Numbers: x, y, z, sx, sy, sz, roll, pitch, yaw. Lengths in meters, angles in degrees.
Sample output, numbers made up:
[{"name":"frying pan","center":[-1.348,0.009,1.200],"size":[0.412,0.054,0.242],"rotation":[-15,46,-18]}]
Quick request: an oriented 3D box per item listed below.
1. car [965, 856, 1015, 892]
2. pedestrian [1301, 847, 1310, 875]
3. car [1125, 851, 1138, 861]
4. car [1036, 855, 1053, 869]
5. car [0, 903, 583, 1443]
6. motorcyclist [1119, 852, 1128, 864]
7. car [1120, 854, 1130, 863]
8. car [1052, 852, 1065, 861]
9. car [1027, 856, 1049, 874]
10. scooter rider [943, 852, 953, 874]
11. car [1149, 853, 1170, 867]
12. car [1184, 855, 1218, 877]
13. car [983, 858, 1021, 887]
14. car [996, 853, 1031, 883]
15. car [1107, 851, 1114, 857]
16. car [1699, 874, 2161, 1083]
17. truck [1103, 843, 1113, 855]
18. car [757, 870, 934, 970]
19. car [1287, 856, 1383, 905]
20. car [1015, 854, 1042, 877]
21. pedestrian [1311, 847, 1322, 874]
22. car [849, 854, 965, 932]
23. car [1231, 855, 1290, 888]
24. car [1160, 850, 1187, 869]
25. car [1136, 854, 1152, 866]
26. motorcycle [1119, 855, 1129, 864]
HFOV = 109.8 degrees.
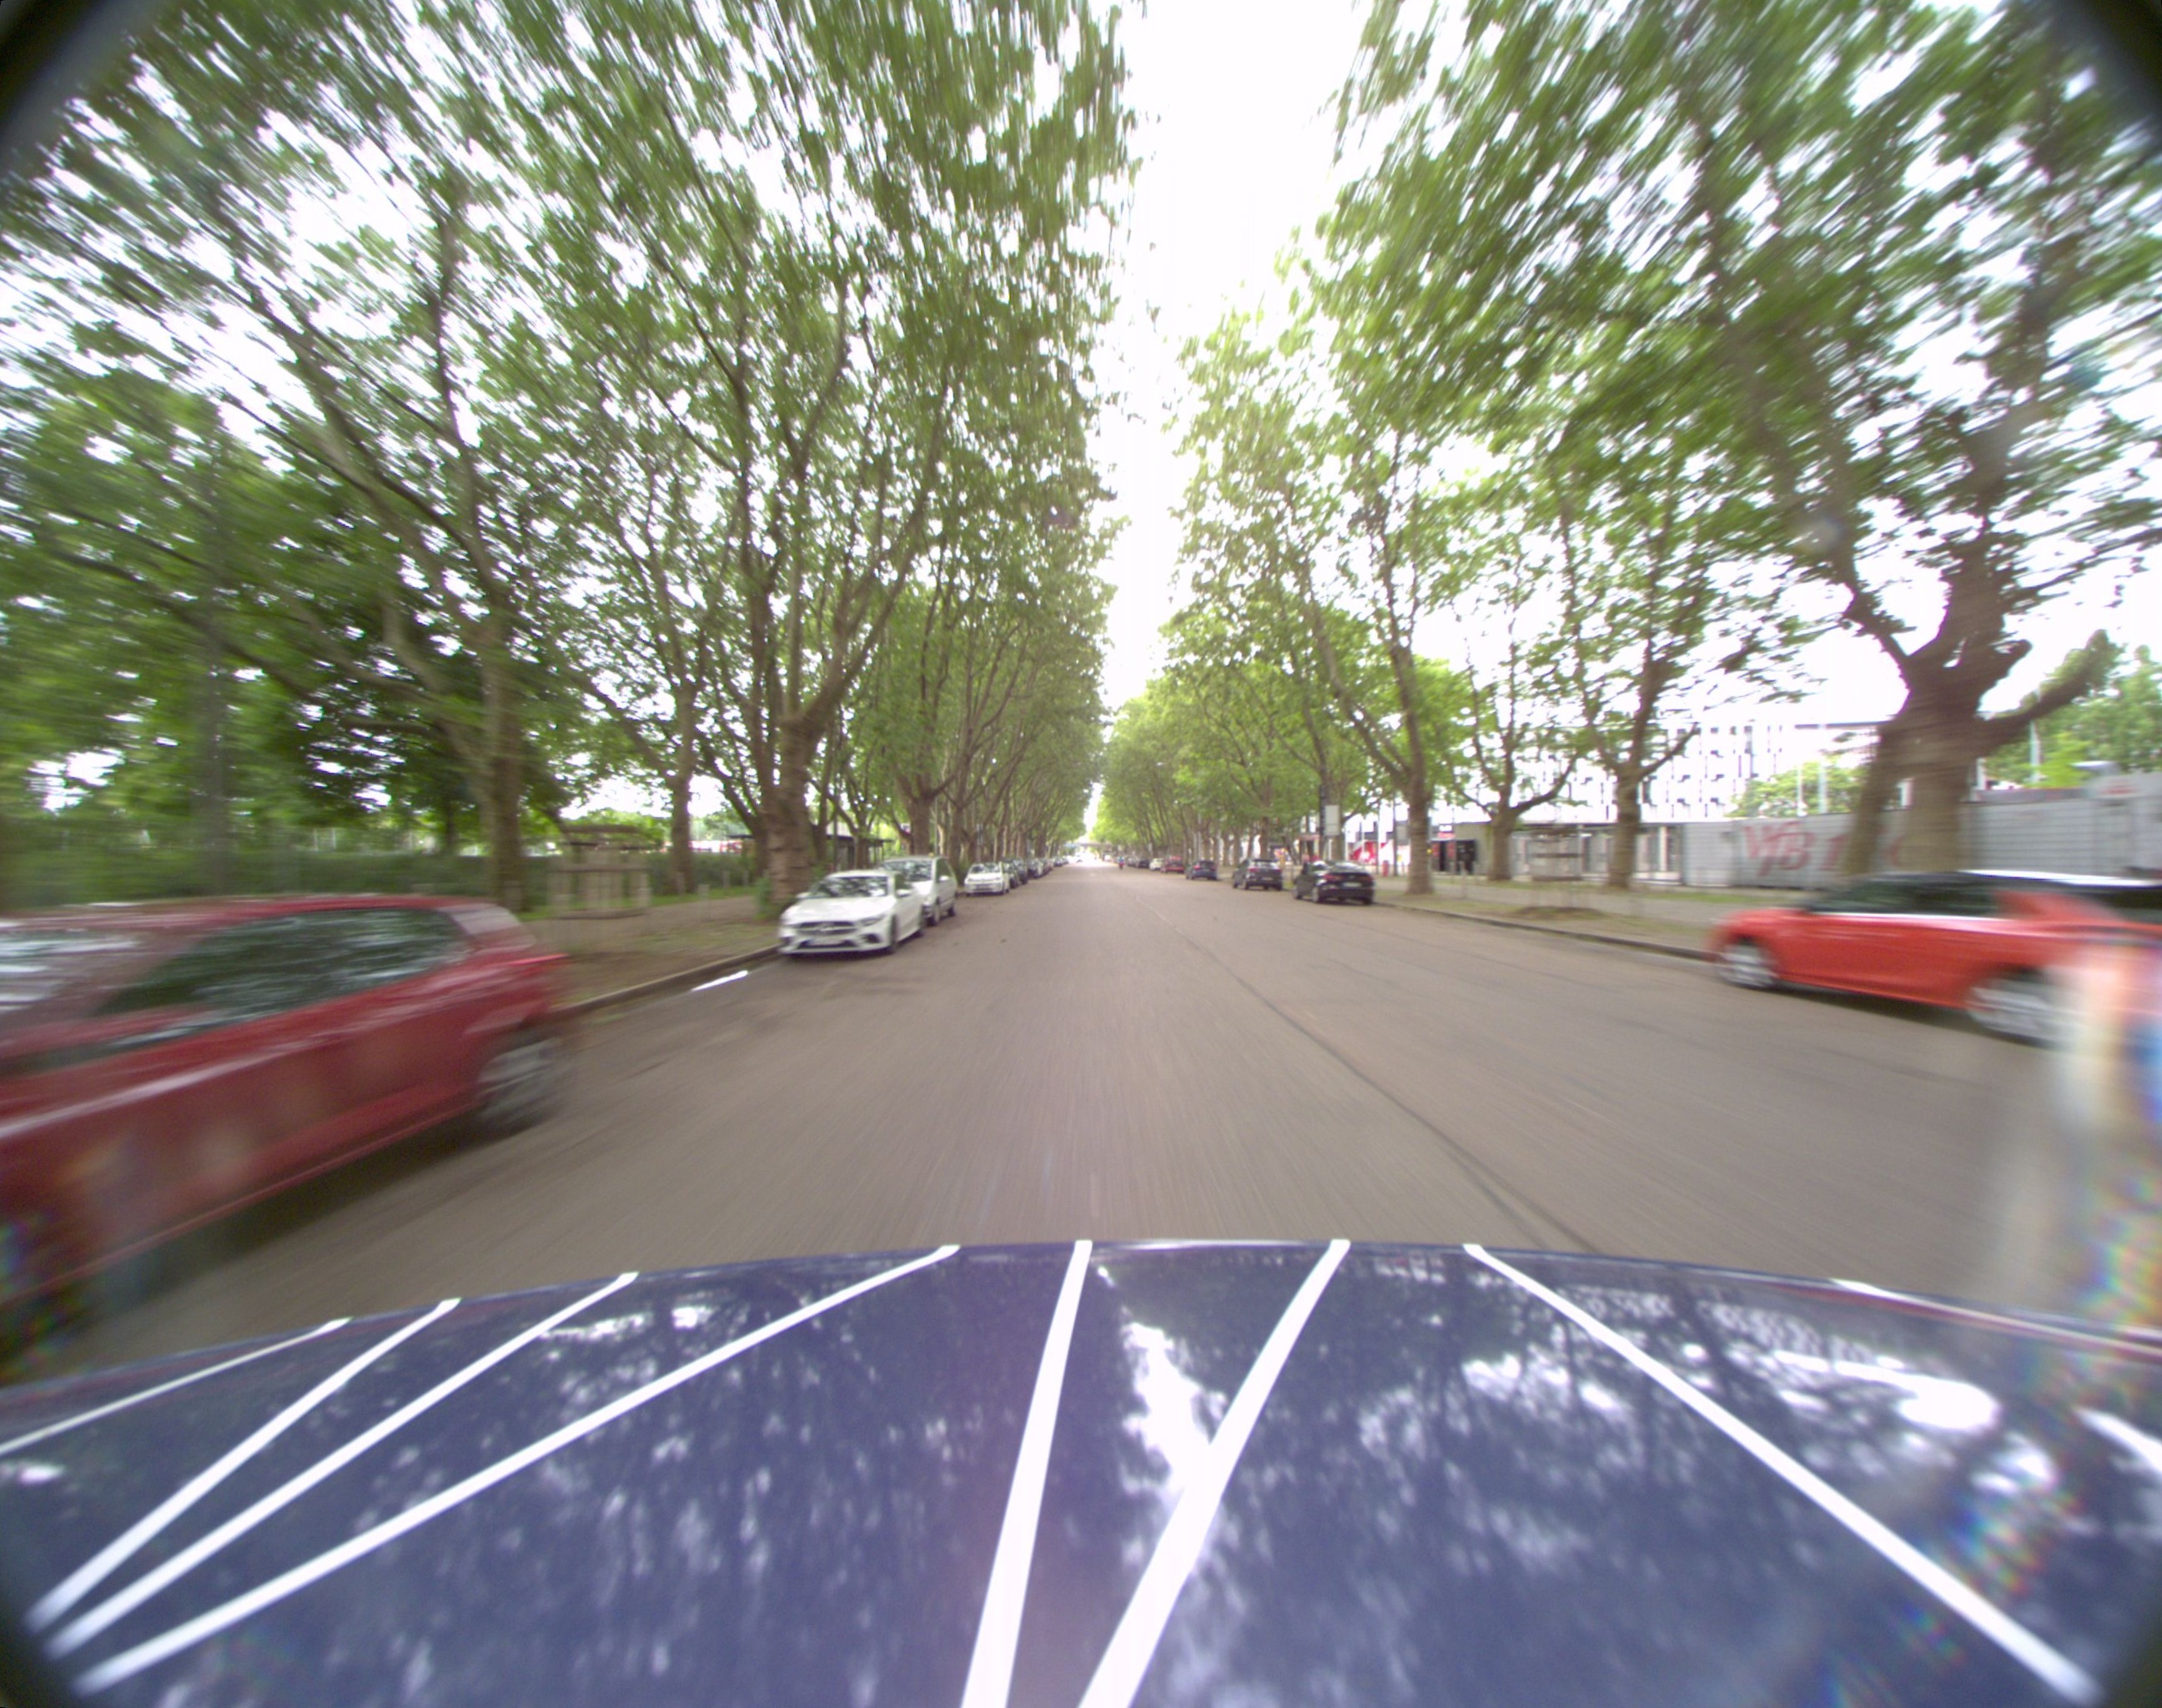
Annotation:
[{"name":"car","center":[-3.967,0.850,33.681],"size":[1.712,1.419,3.889],"rotation":[-2,0,0]},{"name":"pedestrian","center":[14.494,0.432,49.067],"size":[0.577,1.759,0.768],"rotation":[-1,1,15]},{"name":"car","center":[9.284,0.396,139.501],"size":[1.900,1.785,4.612],"rotation":[2,0,0]},{"name":"car","center":[-4.227,0.884,87.521],"size":[1.721,1.430,4.627],"rotation":[-3,0,-4]},{"name":"car","center":[-4.270,1.090,2.976],"size":[1.861,1.473,4.177],"rotation":[-1,0,0]},{"name":"motorcyclist","center":[5.236,0.483,93.586],"size":[0.872,1.471,1.264],"rotation":[-1,0,-3]},{"name":"car","center":[8.931,0.921,154.447],"size":[1.822,1.584,4.345],"rotation":[2,0,2]},{"name":"car","center":[-3.659,0.429,125.075],"size":[1.998,1.469,4.371],"rotation":[-2,0,0]},{"name":"car","center":[-3.908,0.987,70.189],"size":[1.672,1.500,4.353],"rotation":[-2,0,0]},{"name":"scooter rider","center":[-10.860,0.736,62.064],"size":[0.678,1.789,0.587],"rotation":[1,0,0]},{"name":"car","center":[8.887,0.670,86.482],"size":[1.909,1.394,4.751],"rotation":[2,0,0]},{"name":"car","center":[8.594,0.851,54.595],"size":[1.729,1.477,4.574],"rotation":[-1,0,0]},{"name":"car","center":[-4.180,0.966,40.648],"size":[1.712,1.407,4.360],"rotation":[-1,0,-2]},{"name":"car","center":[-4.074,0.817,46.396],"size":[1.712,1.688,4.630],"rotation":[-2,0,-1]},{"name":"car","center":[9.669,0.118,248.706],"size":[2.064,1.950,5.466],"rotation":[0,0,1]},{"name":"car","center":[8.515,0.935,7.373],"size":[1.813,1.346,4.000],"rotation":[-1,0,1]},{"name":"truck","center":[9.343,-1.672,262.343],"size":[2.917,3.846,9.466],"rotation":[1,0,0]},{"name":"car","center":[-4.113,1.075,14.138],"size":[1.882,1.419,4.585],"rotation":[-1,0,-1]},{"name":"car","center":[8.426,0.807,25.623],"size":[1.831,1.457,4.628],"rotation":[1,0,2]},{"name":"car","center":[-4.083,0.870,59.441],"size":[1.782,1.663,4.637],"rotation":[-1,0,-1]},{"name":"pedestrian","center":[15.186,0.404,48.998],"size":[0.575,1.732,0.768],"rotation":[-1,1,15]},{"name":"car","center":[-4.330,0.895,19.651],"size":[1.907,1.728,4.506],"rotation":[-1,0,0]},{"name":"car","center":[8.597,0.803,36.773],"size":[1.882,1.518,4.151],"rotation":[0,0,0]},{"name":"car","center":[8.814,0.527,72.401],"size":[1.954,1.740,4.638],"rotation":[1,0,0]},{"name":"car","center":[8.578,0.821,104.368],"size":[1.838,1.486,4.442],"rotation":[2,0,1]},{"name":"motorcycle","center":[5.252,0.631,93.637],"size":[0.875,1.073,3.052],"rotation":[-1,0,-3]}]
